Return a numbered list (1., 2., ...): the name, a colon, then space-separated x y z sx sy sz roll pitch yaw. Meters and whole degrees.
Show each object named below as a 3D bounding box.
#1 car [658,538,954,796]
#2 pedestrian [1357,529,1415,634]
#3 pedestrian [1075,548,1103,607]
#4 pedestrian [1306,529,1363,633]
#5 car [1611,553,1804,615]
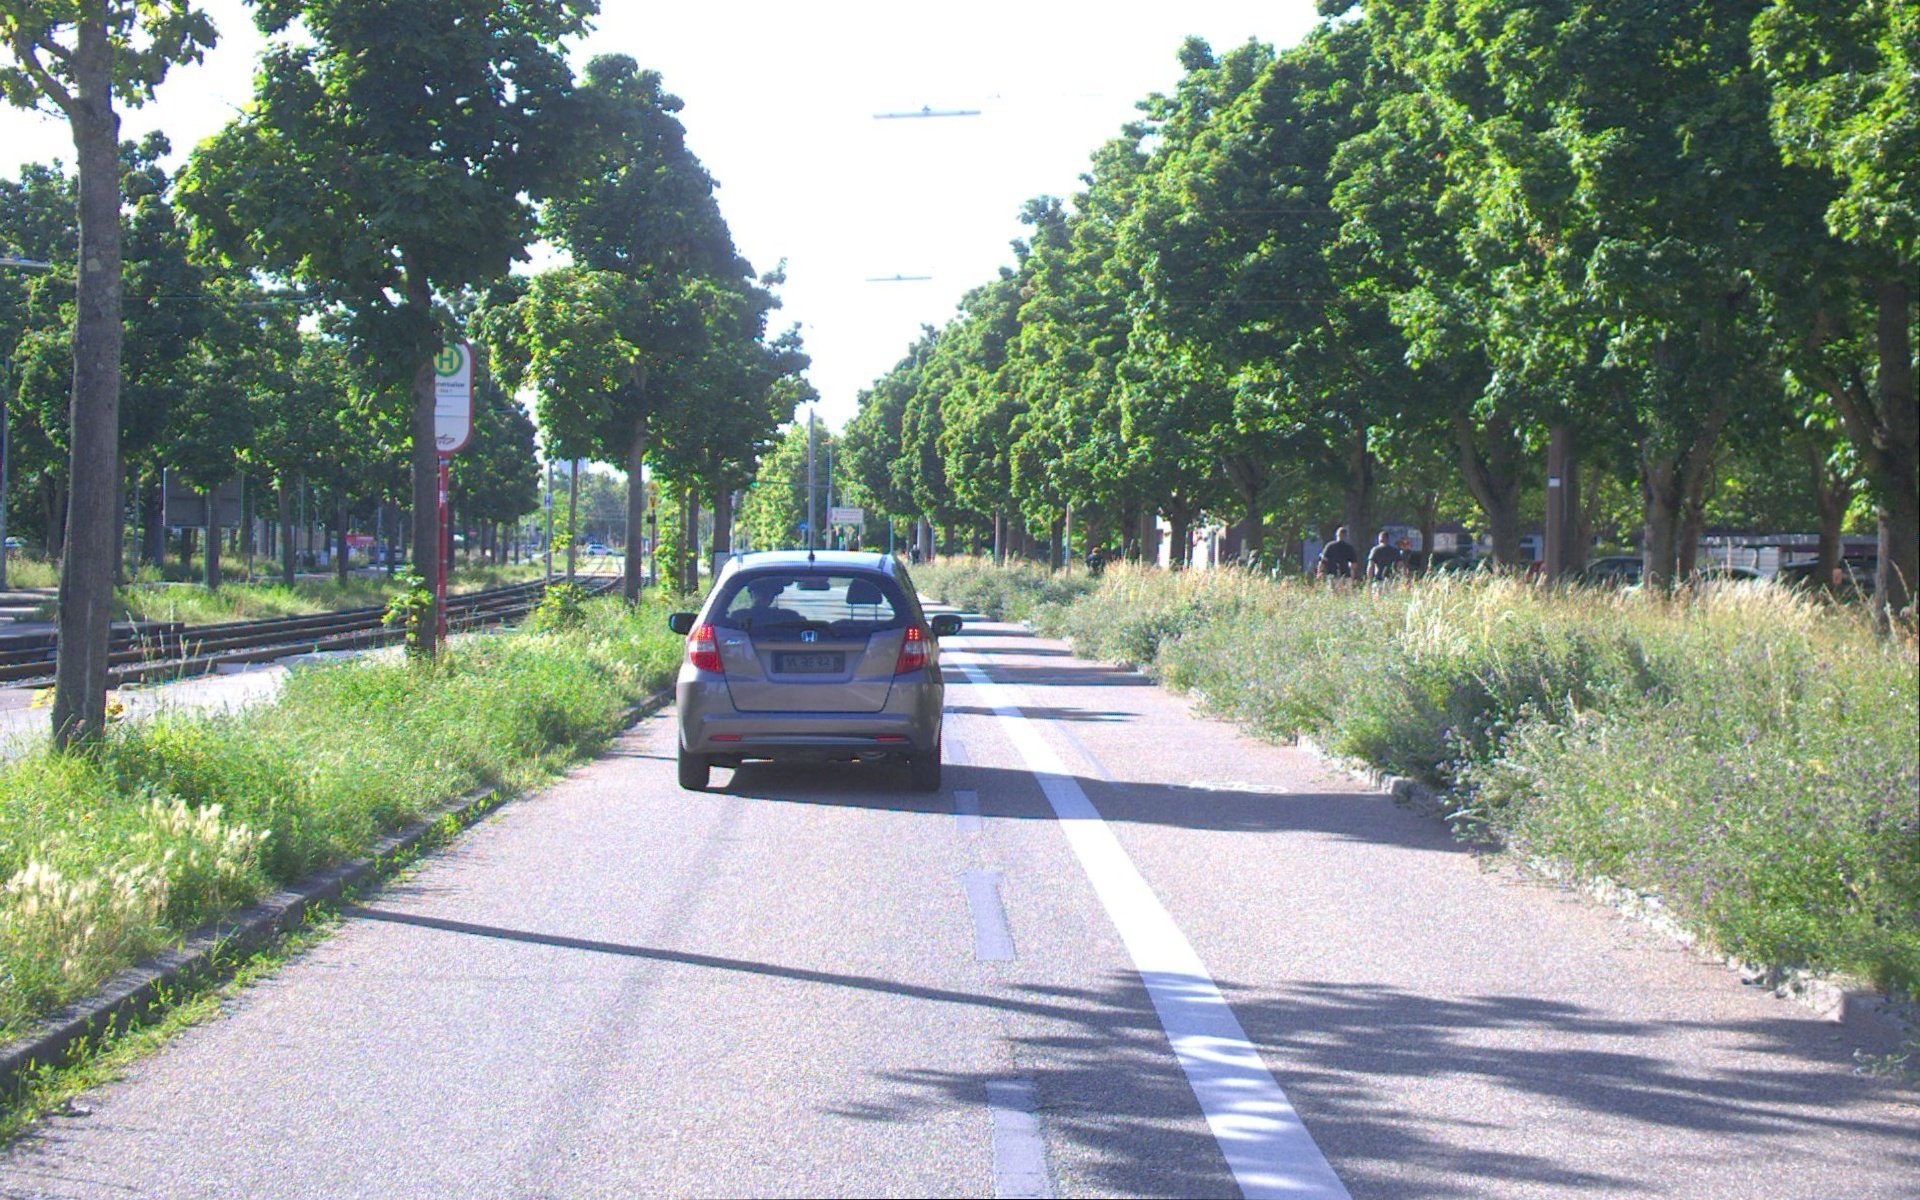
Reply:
1. car: -0.944 0.424 22.811 1.701 1.518 3.709 2 -1 1
2. pedestrian: 7.767 -0.341 62.666 0.882 1.878 0.875 1 0 -3
3. pedestrian: 3.724 -0.640 99.380 0.725 1.685 0.821 1 0 -1
4. pedestrian: 6.827 -0.349 62.672 0.882 1.878 0.875 1 0 -3
5. car: 19.937 -0.430 91.797 4.630 1.550 2.000 1 1 -5
